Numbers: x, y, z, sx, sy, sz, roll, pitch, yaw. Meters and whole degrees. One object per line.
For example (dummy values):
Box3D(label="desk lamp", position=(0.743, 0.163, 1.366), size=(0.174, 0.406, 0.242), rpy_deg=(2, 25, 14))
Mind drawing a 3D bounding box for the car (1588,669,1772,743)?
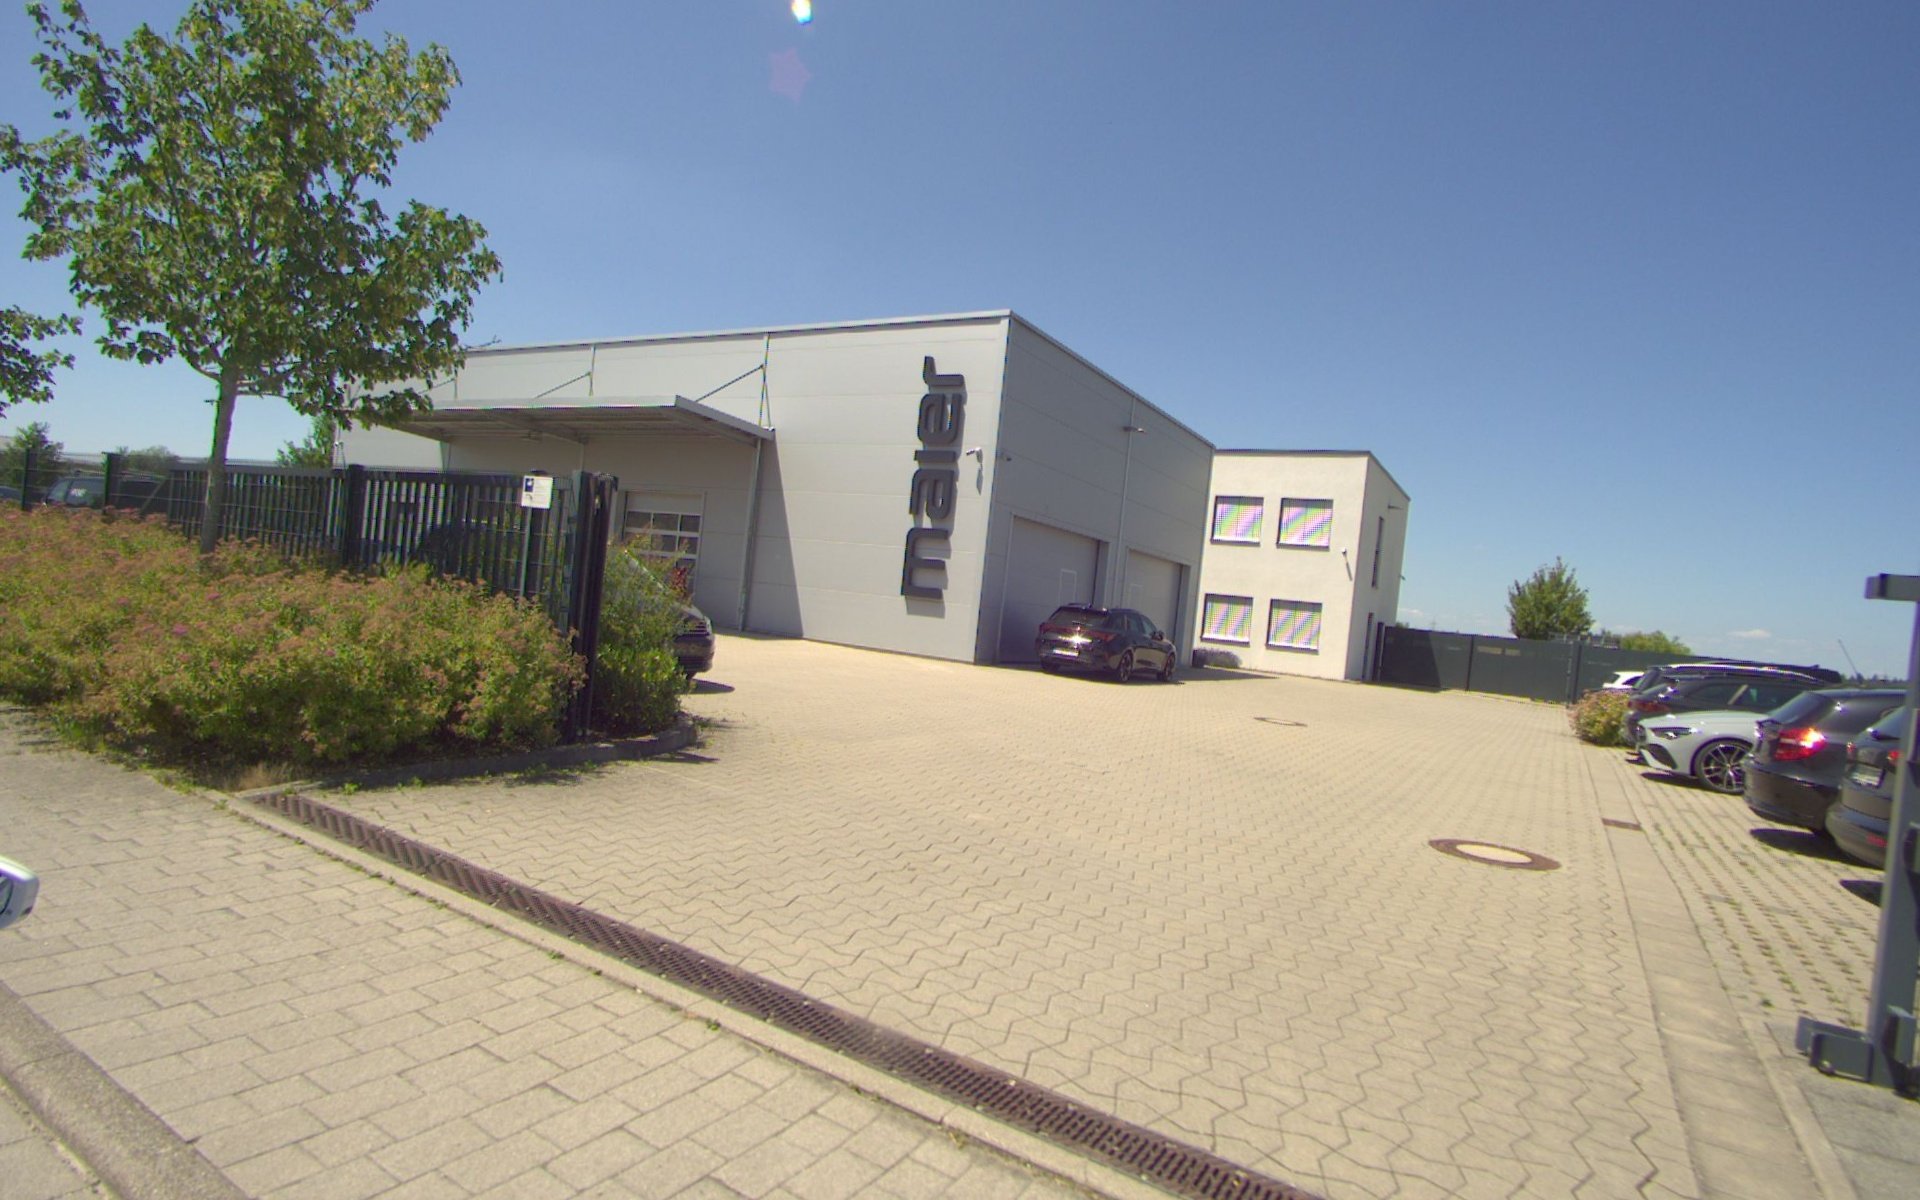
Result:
Box3D(label="car", position=(18.357, 2.664, 25.846), size=(3.587, 1.366, 1.527), rpy_deg=(5, 0, 30))

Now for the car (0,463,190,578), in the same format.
Box3D(label="car", position=(-18.786, -1.737, 21.802), size=(4.156, 2.114, 1.877), rpy_deg=(6, 1, 32))

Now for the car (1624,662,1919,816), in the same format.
Box3D(label="car", position=(10.256, 1.650, 12.188), size=(3.481, 1.415, 1.516), rpy_deg=(5, 0, 30))

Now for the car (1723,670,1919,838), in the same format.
Box3D(label="car", position=(9.729, 1.588, 9.882), size=(3.276, 1.430, 1.459), rpy_deg=(5, 0, 30))

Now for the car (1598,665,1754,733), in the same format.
Box3D(label="car", position=(21.429, 2.919, 30.279), size=(3.587, 1.546, 1.527), rpy_deg=(5, 0, 30))

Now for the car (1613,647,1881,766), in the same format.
Box3D(label="car", position=(16.233, 2.132, 21.059), size=(4.057, 1.870, 1.750), rpy_deg=(5, 0, 30))

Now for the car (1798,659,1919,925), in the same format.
Box3D(label="car", position=(7.163, 1.275, 5.782), size=(3.276, 1.515, 1.516), rpy_deg=(5, 0, 30))

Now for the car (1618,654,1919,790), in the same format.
Box3D(label="car", position=(13.246, 1.920, 16.653), size=(3.721, 1.654, 1.516), rpy_deg=(5, 0, 30))

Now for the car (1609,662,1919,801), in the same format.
Box3D(label="car", position=(11.677, 1.815, 14.487), size=(3.721, 1.448, 1.516), rpy_deg=(5, 0, 30))

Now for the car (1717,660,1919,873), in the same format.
Box3D(label="car", position=(8.269, 1.416, 8.023), size=(3.276, 1.515, 1.516), rpy_deg=(5, 0, 30))

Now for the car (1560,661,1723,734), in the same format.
Box3D(label="car", position=(19.169, 2.705, 28.466), size=(3.587, 1.546, 1.527), rpy_deg=(5, 0, 30))

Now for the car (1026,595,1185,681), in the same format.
Box3D(label="car", position=(3.066, 0.793, 20.545), size=(1.676, 1.397, 3.990), rpy_deg=(8, 2, 31))

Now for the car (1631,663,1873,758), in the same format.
Box3D(label="car", position=(18.149, 2.468, 23.326), size=(4.057, 1.593, 1.750), rpy_deg=(5, 0, 30))

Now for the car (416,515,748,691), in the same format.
Box3D(label="car", position=(-4.500, -0.004, 11.890), size=(3.517, 1.572, 1.810), rpy_deg=(7, 2, 32))
